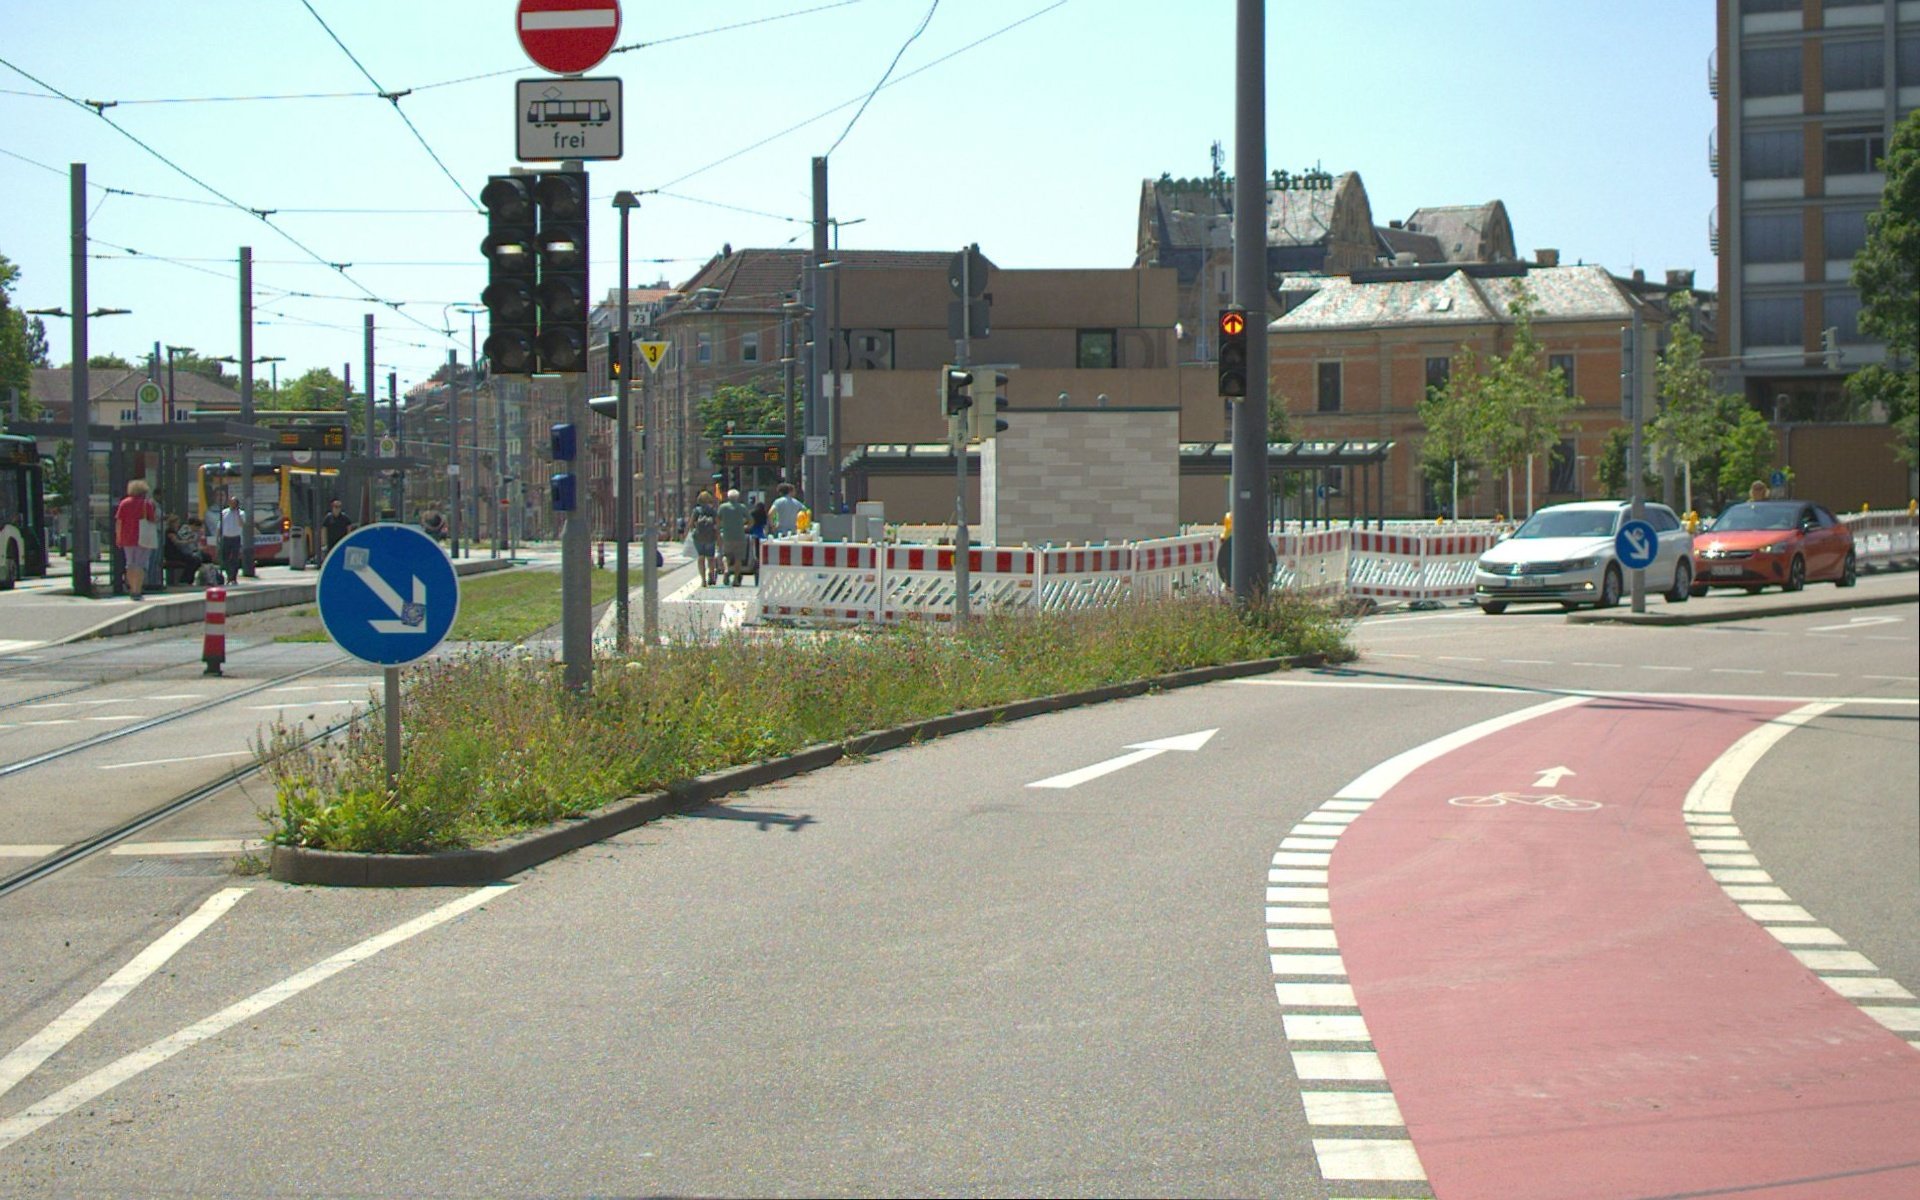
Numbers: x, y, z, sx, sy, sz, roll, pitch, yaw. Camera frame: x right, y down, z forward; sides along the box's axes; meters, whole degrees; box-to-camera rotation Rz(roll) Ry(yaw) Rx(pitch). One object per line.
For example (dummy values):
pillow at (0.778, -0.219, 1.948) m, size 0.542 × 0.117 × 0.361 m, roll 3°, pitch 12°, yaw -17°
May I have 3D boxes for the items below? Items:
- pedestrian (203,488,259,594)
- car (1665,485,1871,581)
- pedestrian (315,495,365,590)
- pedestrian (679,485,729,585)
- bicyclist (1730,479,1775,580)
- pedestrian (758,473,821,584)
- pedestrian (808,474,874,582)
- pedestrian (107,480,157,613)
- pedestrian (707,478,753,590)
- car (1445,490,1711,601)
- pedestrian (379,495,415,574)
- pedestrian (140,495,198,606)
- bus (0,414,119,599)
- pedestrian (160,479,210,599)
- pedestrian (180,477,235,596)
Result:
pedestrian at (-14.554, -1.186, 68.668) m, size 0.899 × 2.089 × 0.831 m, roll 0°, pitch 1°, yaw 2°
car at (12.479, -1.030, 52.943) m, size 1.734 × 1.420 × 4.116 m, roll 0°, pitch 1°, yaw 34°
pedestrian at (-13.854, -1.293, 76.842) m, size 0.899 × 2.089 × 0.831 m, roll 0°, pitch 1°, yaw 2°
pedestrian at (-4.363, -1.103, 58.549) m, size 0.726 × 1.701 × 0.744 m, roll 0°, pitch 1°, yaw -14°
bicyclist at (13.496, -1.203, 58.540) m, size 0.568 × 1.713 × 0.506 m, roll 1°, pitch 2°, yaw 39°
pedestrian at (-2.868, -1.197, 57.765) m, size 0.765 × 1.858 × 0.730 m, roll 0°, pitch 1°, yaw -43°
pedestrian at (-2.050, -1.236, 59.055) m, size 0.976 × 1.826 × 0.634 m, roll -1°, pitch 2°, yaw -17°
pedestrian at (-12.025, -0.783, 49.934) m, size 0.672 × 1.903 × 0.641 m, roll -1°, pitch 2°, yaw -12°
pedestrian at (-3.993, -1.138, 59.717) m, size 0.719 × 1.917 × 1.074 m, roll 0°, pitch 1°, yaw -8°
car at (8.501, -0.748, 46.955) m, size 1.997 × 1.433 × 4.697 m, roll 0°, pitch 1°, yaw 32°
pedestrian at (-15.006, -1.759, 91.618) m, size 0.829 × 2.089 × 0.902 m, roll -1°, pitch 1°, yaw -3°
pedestrian at (-13.335, -0.842, 57.966) m, size 0.911 × 1.845 × 0.658 m, roll -1°, pitch 2°, yaw -12°
bus at (-17.872, -1.604, 59.431) m, size 3.010 × 3.147 × 17.501 m, roll 0°, pitch 2°, yaw -2°
pedestrian at (-13.646, -1.082, 60.521) m, size 0.823 × 2.089 × 0.642 m, roll -1°, pitch 2°, yaw -14°
pedestrian at (-13.451, -1.138, 61.461) m, size 0.899 × 2.089 × 0.832 m, roll -1°, pitch 2°, yaw -14°
